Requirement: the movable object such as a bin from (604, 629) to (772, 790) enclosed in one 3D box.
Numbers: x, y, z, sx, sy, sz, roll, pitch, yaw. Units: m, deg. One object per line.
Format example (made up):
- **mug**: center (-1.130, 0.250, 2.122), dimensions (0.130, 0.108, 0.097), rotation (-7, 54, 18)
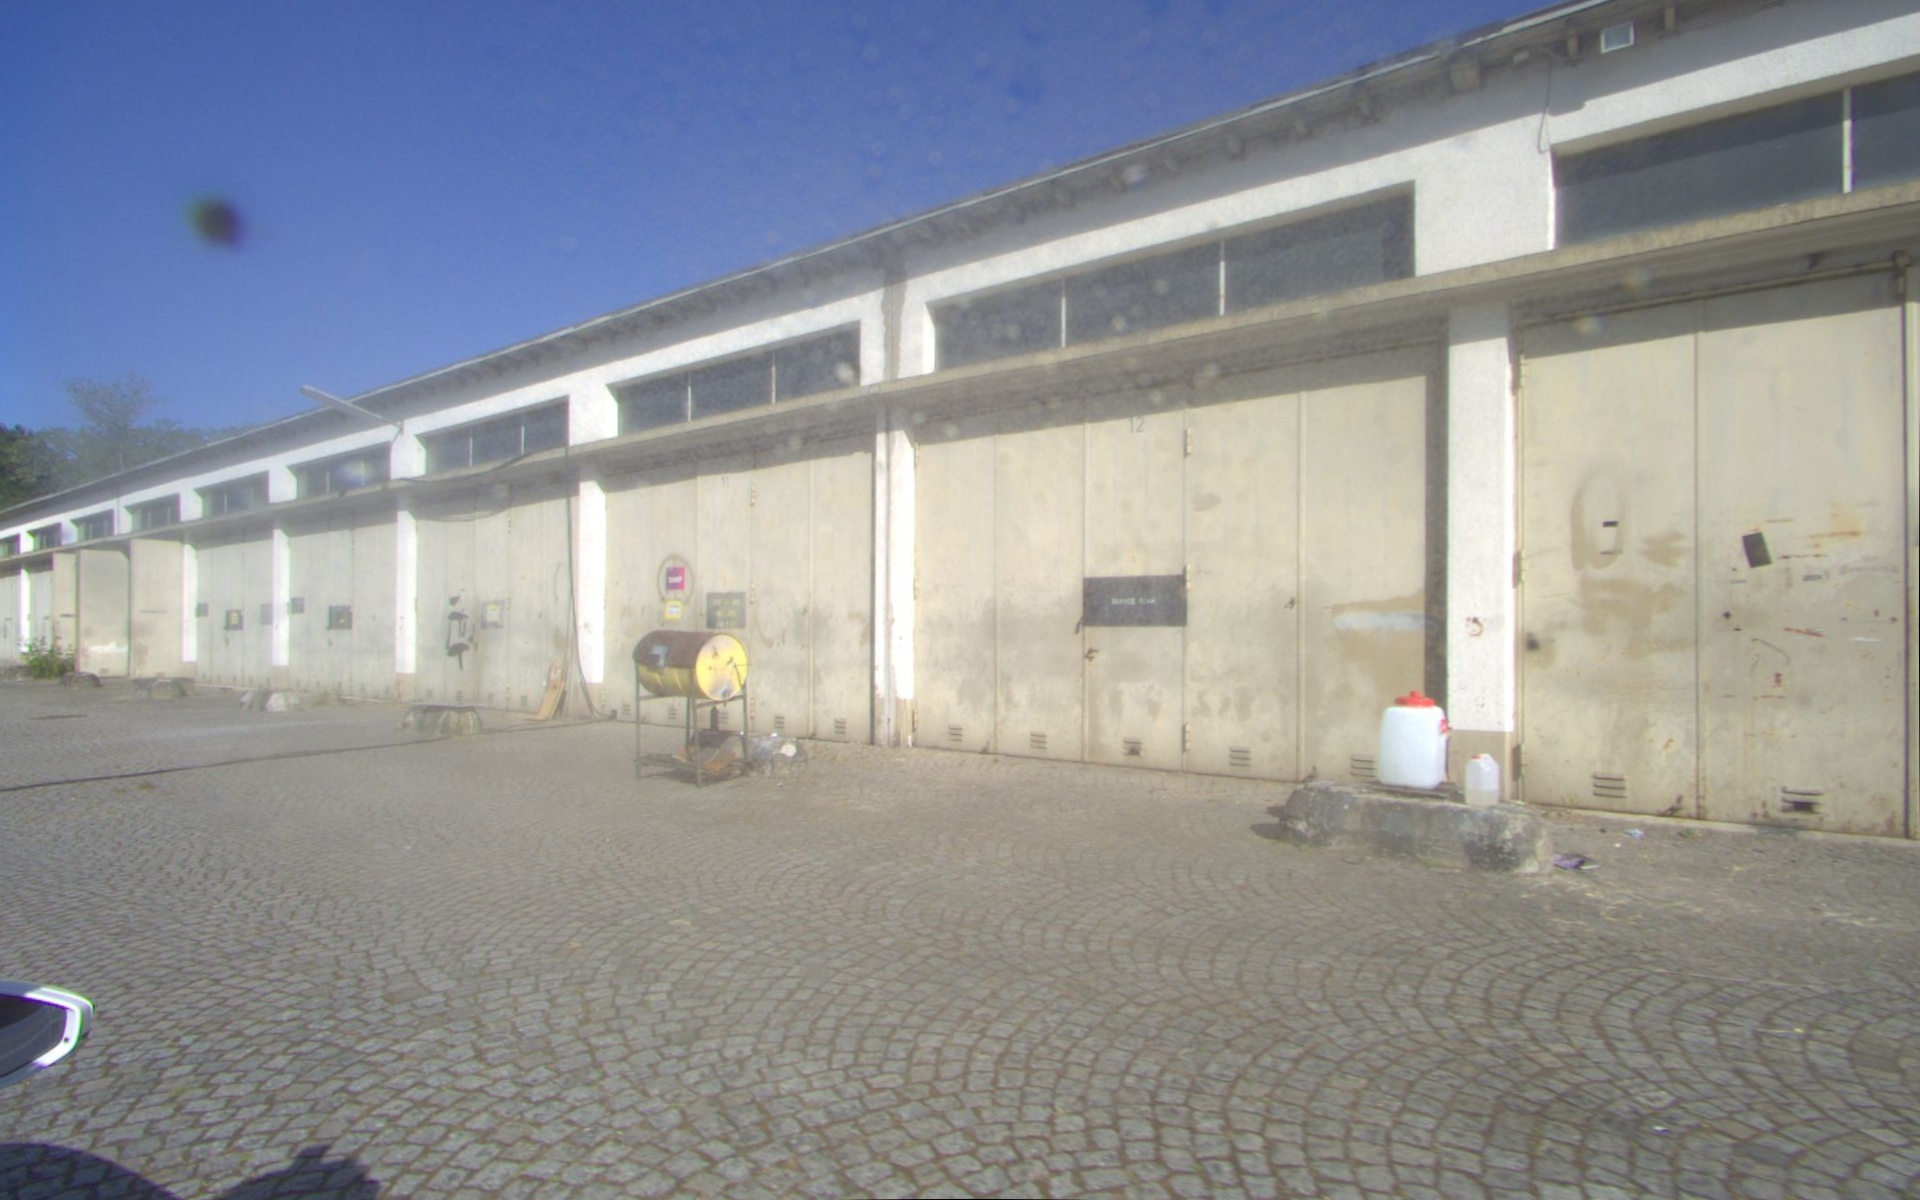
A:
- **movable object such as a bin**: center (-2.466, 0.939, 9.081), dimensions (1.262, 1.348, 0.822), rotation (-1, -2, 32)
